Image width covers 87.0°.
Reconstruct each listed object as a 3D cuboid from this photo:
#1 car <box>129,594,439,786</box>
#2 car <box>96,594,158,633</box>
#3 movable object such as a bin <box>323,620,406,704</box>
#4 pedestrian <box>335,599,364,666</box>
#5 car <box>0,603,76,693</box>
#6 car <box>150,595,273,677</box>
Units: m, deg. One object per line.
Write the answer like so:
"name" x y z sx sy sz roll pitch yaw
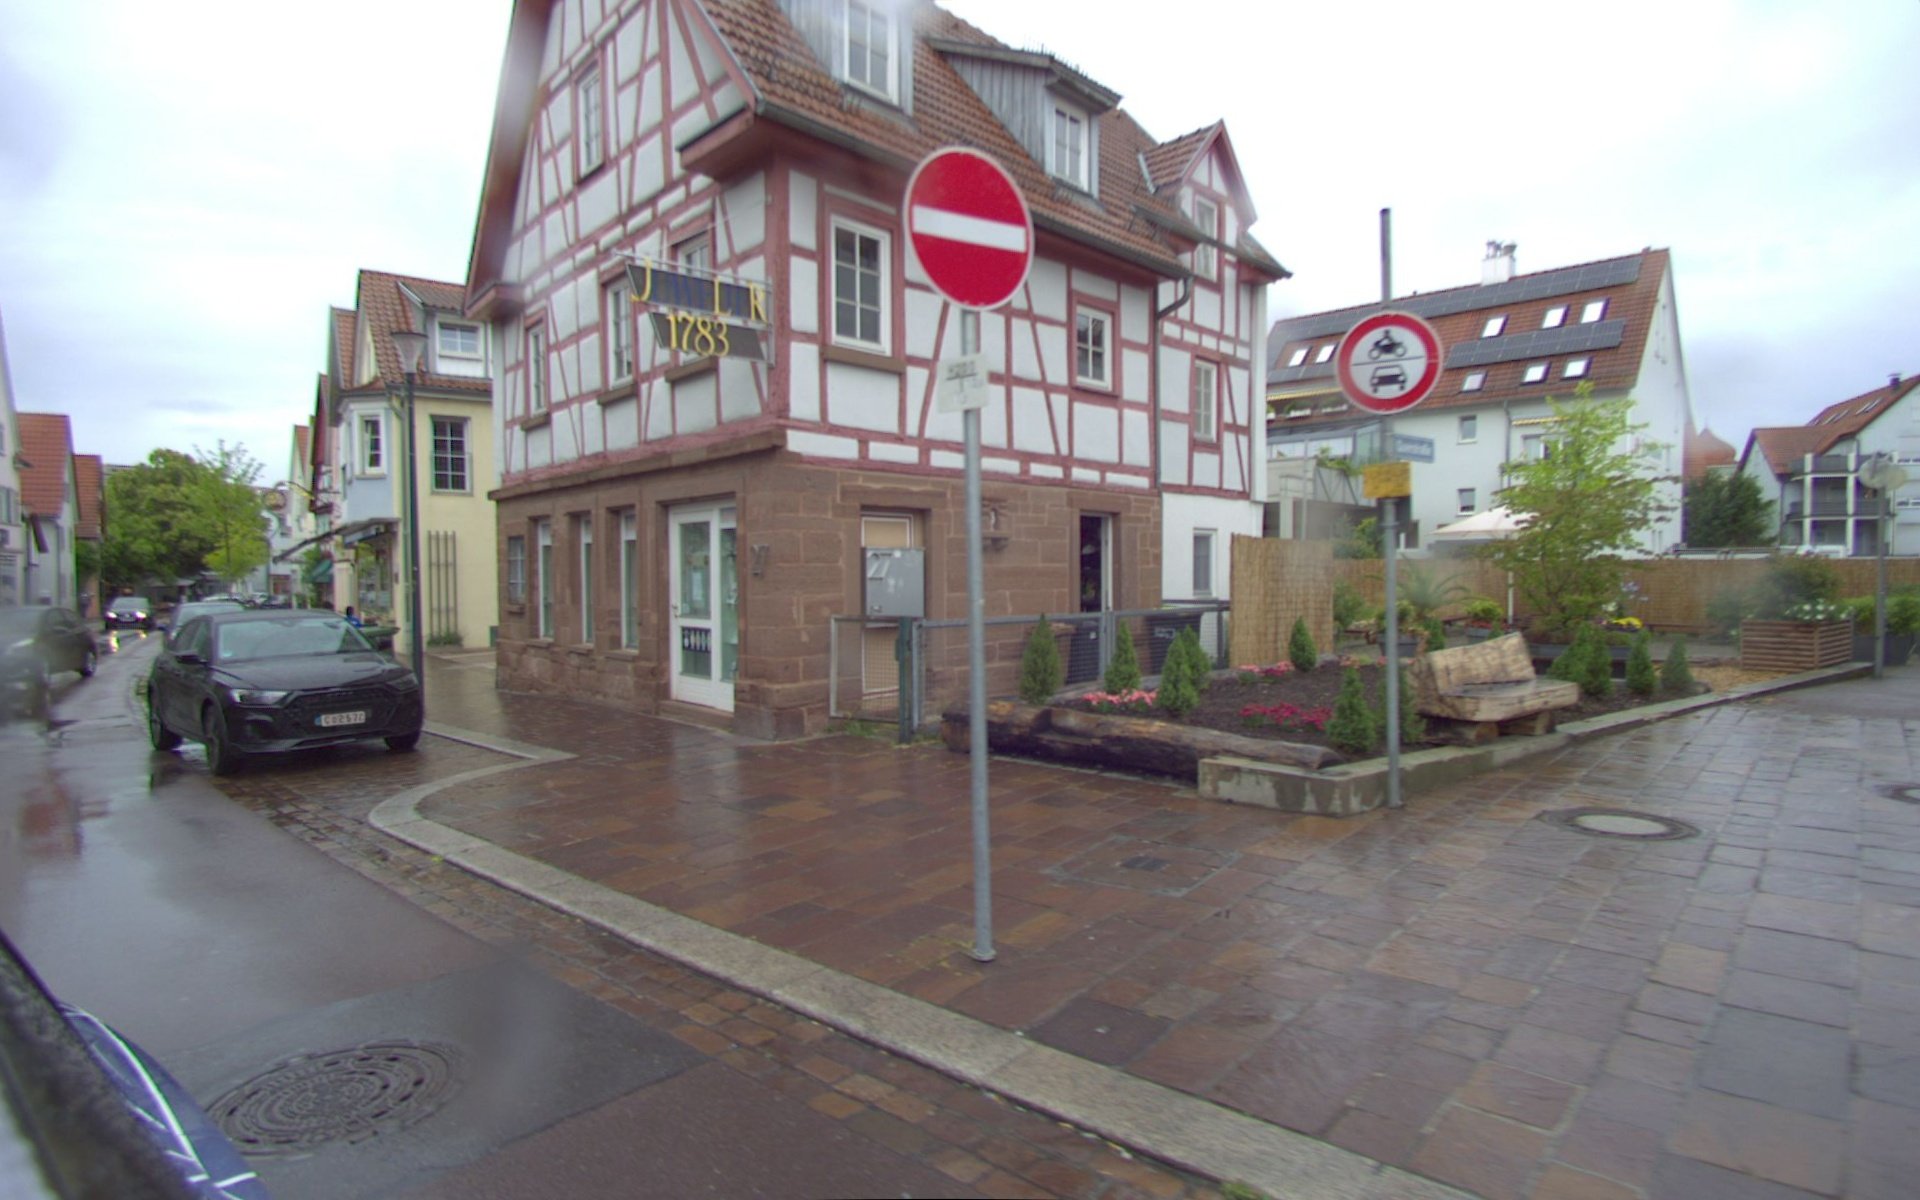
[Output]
"car" -7.064 0.757 10.416 4.000 1.497 1.672 0 4 42
"car" -39.641 0.636 48.230 1.967 1.763 4.010 -1 0 -35
"movable object such as a bin" -8.580 0.867 14.584 0.919 1.120 0.823 0 0 44
"pedestrian" -12.191 0.635 20.210 0.448 1.317 0.518 0 0 -37
"car" -18.065 0.841 19.019 1.709 1.567 3.855 -1 0 -34
"car" -16.650 0.726 22.471 1.968 1.540 4.008 -4 2 -38
